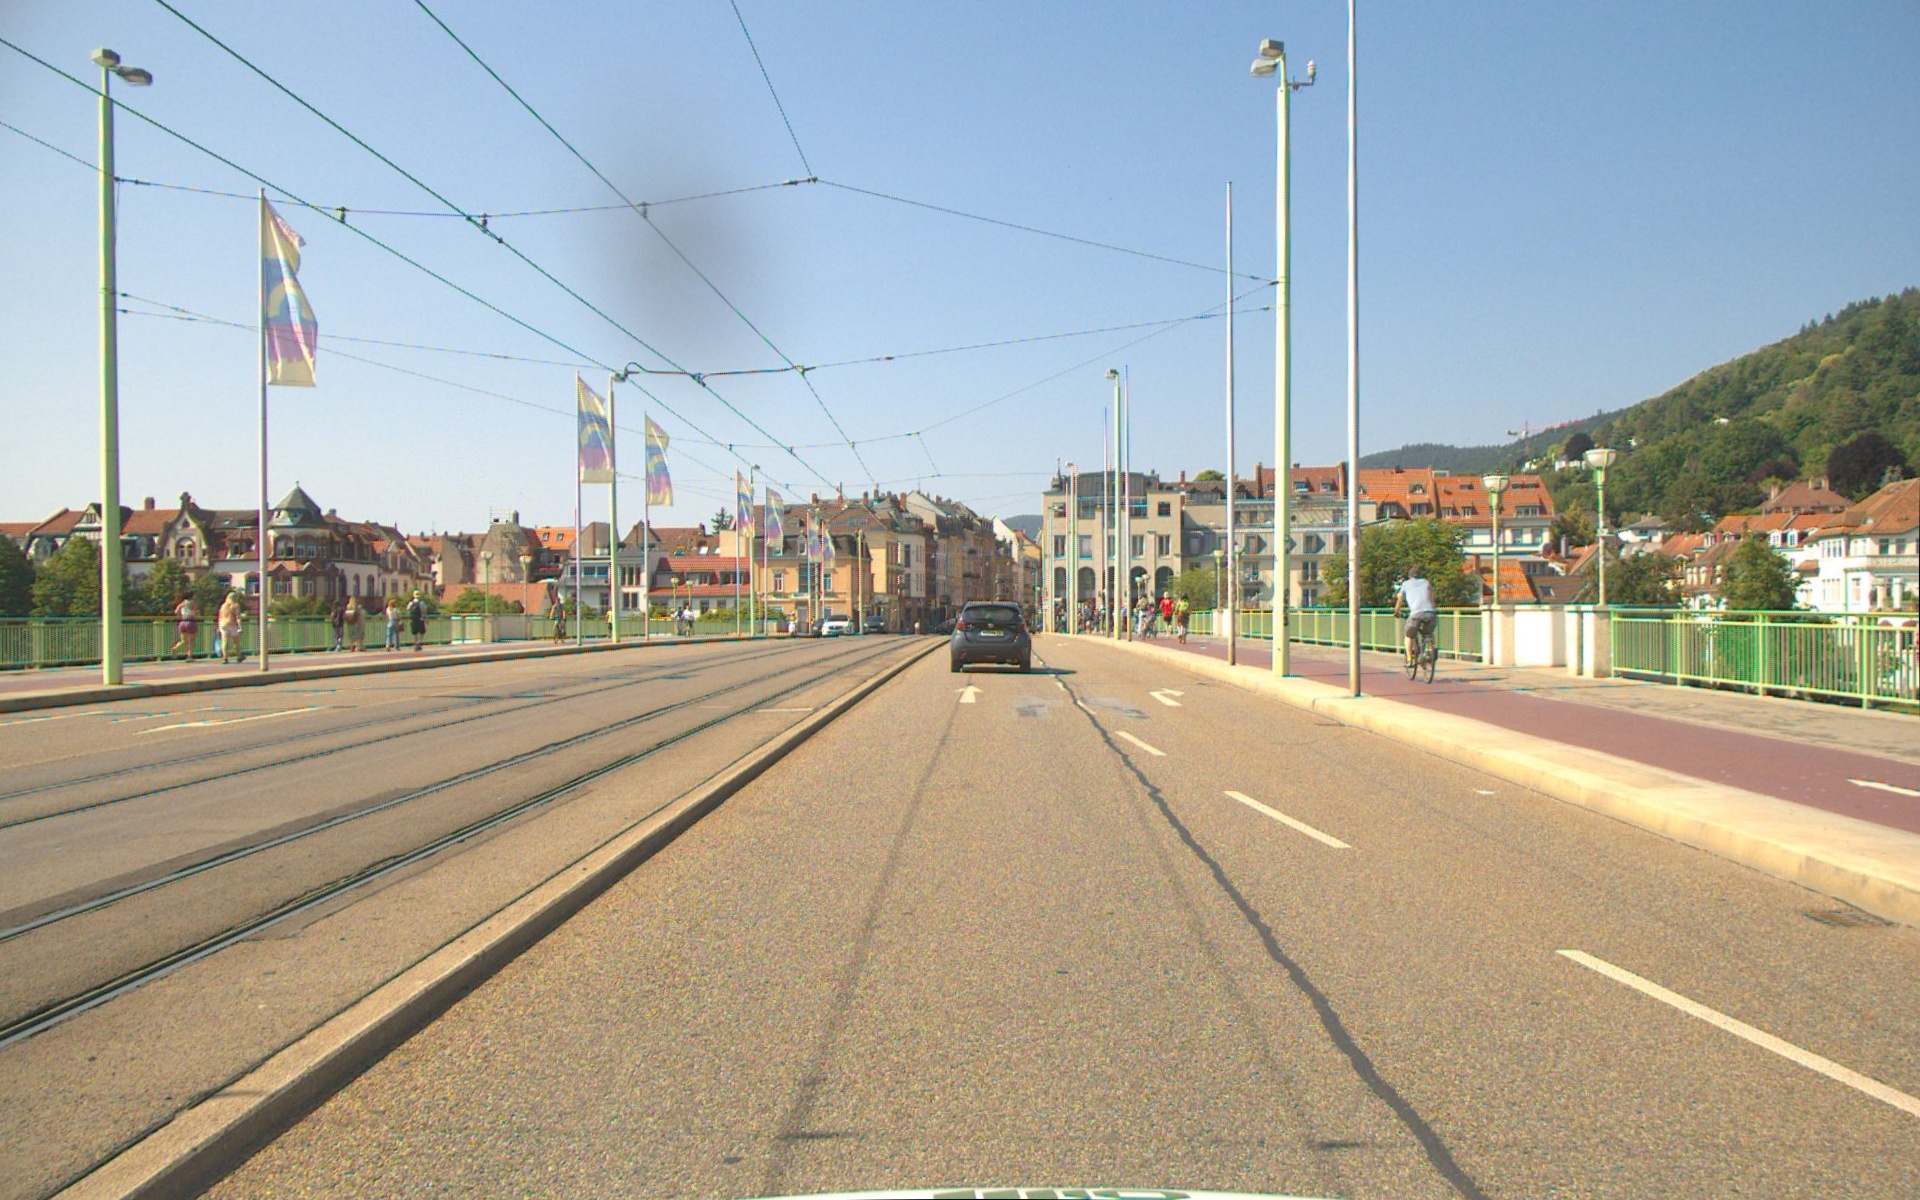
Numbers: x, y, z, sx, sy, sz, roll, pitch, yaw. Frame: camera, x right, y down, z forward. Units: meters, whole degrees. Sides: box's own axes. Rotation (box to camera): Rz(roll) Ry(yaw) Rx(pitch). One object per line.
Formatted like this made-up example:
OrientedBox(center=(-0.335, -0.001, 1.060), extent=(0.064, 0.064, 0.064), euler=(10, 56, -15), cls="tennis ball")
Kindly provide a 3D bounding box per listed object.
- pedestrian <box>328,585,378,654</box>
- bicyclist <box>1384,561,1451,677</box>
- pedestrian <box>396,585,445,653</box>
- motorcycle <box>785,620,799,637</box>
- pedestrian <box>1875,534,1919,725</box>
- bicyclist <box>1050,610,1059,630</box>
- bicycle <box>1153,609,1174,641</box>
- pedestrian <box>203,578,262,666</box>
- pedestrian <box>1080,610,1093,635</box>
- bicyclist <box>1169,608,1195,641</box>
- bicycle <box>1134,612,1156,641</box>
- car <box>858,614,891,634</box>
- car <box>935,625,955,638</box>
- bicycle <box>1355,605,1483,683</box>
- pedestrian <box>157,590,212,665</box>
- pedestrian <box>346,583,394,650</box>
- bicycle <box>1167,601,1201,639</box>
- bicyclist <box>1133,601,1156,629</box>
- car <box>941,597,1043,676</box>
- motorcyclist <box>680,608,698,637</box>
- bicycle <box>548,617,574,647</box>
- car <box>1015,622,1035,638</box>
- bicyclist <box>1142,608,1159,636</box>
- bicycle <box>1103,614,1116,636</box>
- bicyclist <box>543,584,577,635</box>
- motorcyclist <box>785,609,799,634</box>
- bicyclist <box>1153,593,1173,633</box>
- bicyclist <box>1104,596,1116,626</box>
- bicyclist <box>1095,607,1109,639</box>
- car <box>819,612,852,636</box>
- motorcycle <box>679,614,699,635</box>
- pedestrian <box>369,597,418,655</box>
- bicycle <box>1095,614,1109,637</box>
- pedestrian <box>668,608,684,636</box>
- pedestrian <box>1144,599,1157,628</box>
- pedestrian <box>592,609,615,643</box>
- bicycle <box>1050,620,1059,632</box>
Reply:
OrientedBox(center=(-18.182, 0.570, 49.564), extent=(1.075, 2.049, 1.129), euler=(0, 0, -2), cls="pedestrian")
OrientedBox(center=(7.185, 0.293, 26.002), extent=(0.660, 1.774, 1.150), euler=(-1, 0, -3), cls="bicyclist")
OrientedBox(center=(-16.545, 0.580, 50.747), extent=(1.075, 2.049, 1.295), euler=(0, 0, -2), cls="pedestrian")
OrientedBox(center=(-11.248, 1.905, 110.988), extent=(0.686, 1.129, 2.179), euler=(0, 0, 0), cls="motorcycle")
OrientedBox(center=(9.254, 0.268, 15.611), extent=(0.642, 1.774, 0.977), euler=(0, 1, -4), cls="pedestrian")
OrientedBox(center=(7.781, 1.666, 136.216), extent=(0.639, 1.594, 1.338), euler=(-2, -1, 4), cls="bicyclist")
OrientedBox(center=(8.500, 1.030, 69.120), extent=(0.606, 1.293, 2.216), euler=(0, 0, -1), cls="bicycle")
OrientedBox(center=(-17.218, 0.508, 39.155), extent=(0.949, 2.049, 1.100), euler=(0, 0, -4), cls="pedestrian")
OrientedBox(center=(8.802, 1.550, 114.806), extent=(0.817, 1.719, 0.869), euler=(0, 0, 1), cls="pedestrian")
OrientedBox(center=(7.364, 0.803, 54.973), extent=(0.653, 1.063, 0.979), euler=(0, -1, -4), cls="bicyclist")
OrientedBox(center=(7.044, 0.994, 62.994), extent=(0.606, 1.056, 2.051), euler=(0, 0, -1), cls="bicycle")
OrientedBox(center=(-7.287, 2.037, 141.368), extent=(1.951, 1.627, 4.341), euler=(-1, 0, 8), cls="car")
OrientedBox(center=(-1.843, 3.968, 206.934), extent=(1.951, 1.505, 4.003), euler=(-1, 0, 8), cls="car")
OrientedBox(center=(7.185, 0.656, 26.147), extent=(0.776, 1.115, 3.742), euler=(-1, 0, -3), cls="bicycle")
OrientedBox(center=(-18.283, 0.640, 39.026), extent=(0.739, 1.752, 1.175), euler=(0, -1, -1), cls="pedestrian")
OrientedBox(center=(-18.318, 0.505, 51.372), extent=(1.075, 2.049, 1.129), euler=(0, 0, -2), cls="pedestrian")
OrientedBox(center=(7.384, 0.652, 54.610), extent=(0.681, 1.214, 2.077), euler=(-1, -1, -4), cls="bicycle")
OrientedBox(center=(7.037, 0.556, 63.050), extent=(0.720, 1.048, 1.175), euler=(0, 0, -1), cls="bicyclist")
OrientedBox(center=(0.642, 0.747, 36.190), extent=(1.872, 1.567, 3.997), euler=(-1, 0, -4), cls="car")
OrientedBox(center=(-14.905, 1.232, 91.035), extent=(0.784, 1.576, 1.069), euler=(0, -1, 0), cls="motorcyclist")
OrientedBox(center=(-15.646, 1.259, 64.879), extent=(0.577, 1.116, 2.112), euler=(-1, 0, -1), cls="bicycle")
OrientedBox(center=(6.234, 2.879, 158.750), extent=(1.766, 1.494, 4.001), euler=(-2, -1, 3), cls="car")
OrientedBox(center=(7.701, 0.895, 66.789), extent=(0.586, 1.121, 0.853), euler=(-1, -1, 11), cls="bicyclist")
OrientedBox(center=(8.597, 1.430, 95.084), extent=(0.515, 1.199, 2.028), euler=(0, 0, 0), cls="bicycle")
OrientedBox(center=(-15.681, 0.365, 64.886), extent=(1.075, 1.995, 1.129), euler=(0, 0, -2), cls="bicyclist")
OrientedBox(center=(-11.285, 1.443, 111.138), extent=(0.810, 1.601, 0.832), euler=(0, -1, 0), cls="motorcyclist")
OrientedBox(center=(8.477, 0.536, 69.179), extent=(0.720, 1.664, 0.866), euler=(0, -1, -1), cls="bicyclist")
OrientedBox(center=(8.593, 0.637, 94.881), extent=(0.615, 1.719, 0.869), euler=(0, -1, 0), cls="bicyclist")
OrientedBox(center=(7.643, 1.248, 89.240), extent=(0.643, 1.705, 0.869), euler=(0, -1, -1), cls="bicyclist")
OrientedBox(center=(-7.928, 1.521, 105.019), extent=(1.955, 1.434, 4.541), euler=(-1, 0, -7), cls="car")
OrientedBox(center=(-14.922, 1.355, 91.041), extent=(0.686, 1.129, 2.179), euler=(0, 0, 0), cls="motorcycle")
OrientedBox(center=(-17.333, 0.779, 50.618), extent=(1.075, 1.759, 1.295), euler=(0, 0, -2), cls="pedestrian")
OrientedBox(center=(7.658, 1.385, 89.256), extent=(0.581, 1.199, 1.939), euler=(0, 0, 0), cls="bicycle")
OrientedBox(center=(-17.635, 1.364, 102.709), extent=(0.813, 1.752, 1.094), euler=(0, -1, 1), cls="pedestrian")
OrientedBox(center=(10.567, 0.763, 91.569), extent=(0.587, 1.614, 0.866), euler=(0, -1, -1), cls="pedestrian")
OrientedBox(center=(-18.012, 1.302, 83.595), extent=(0.880, 1.687, 1.029), euler=(0, -1, 3), cls="pedestrian")
OrientedBox(center=(7.792, 2.126, 136.144), extent=(0.639, 0.999, 2.179), euler=(-2, -1, 5), cls="bicycle")
